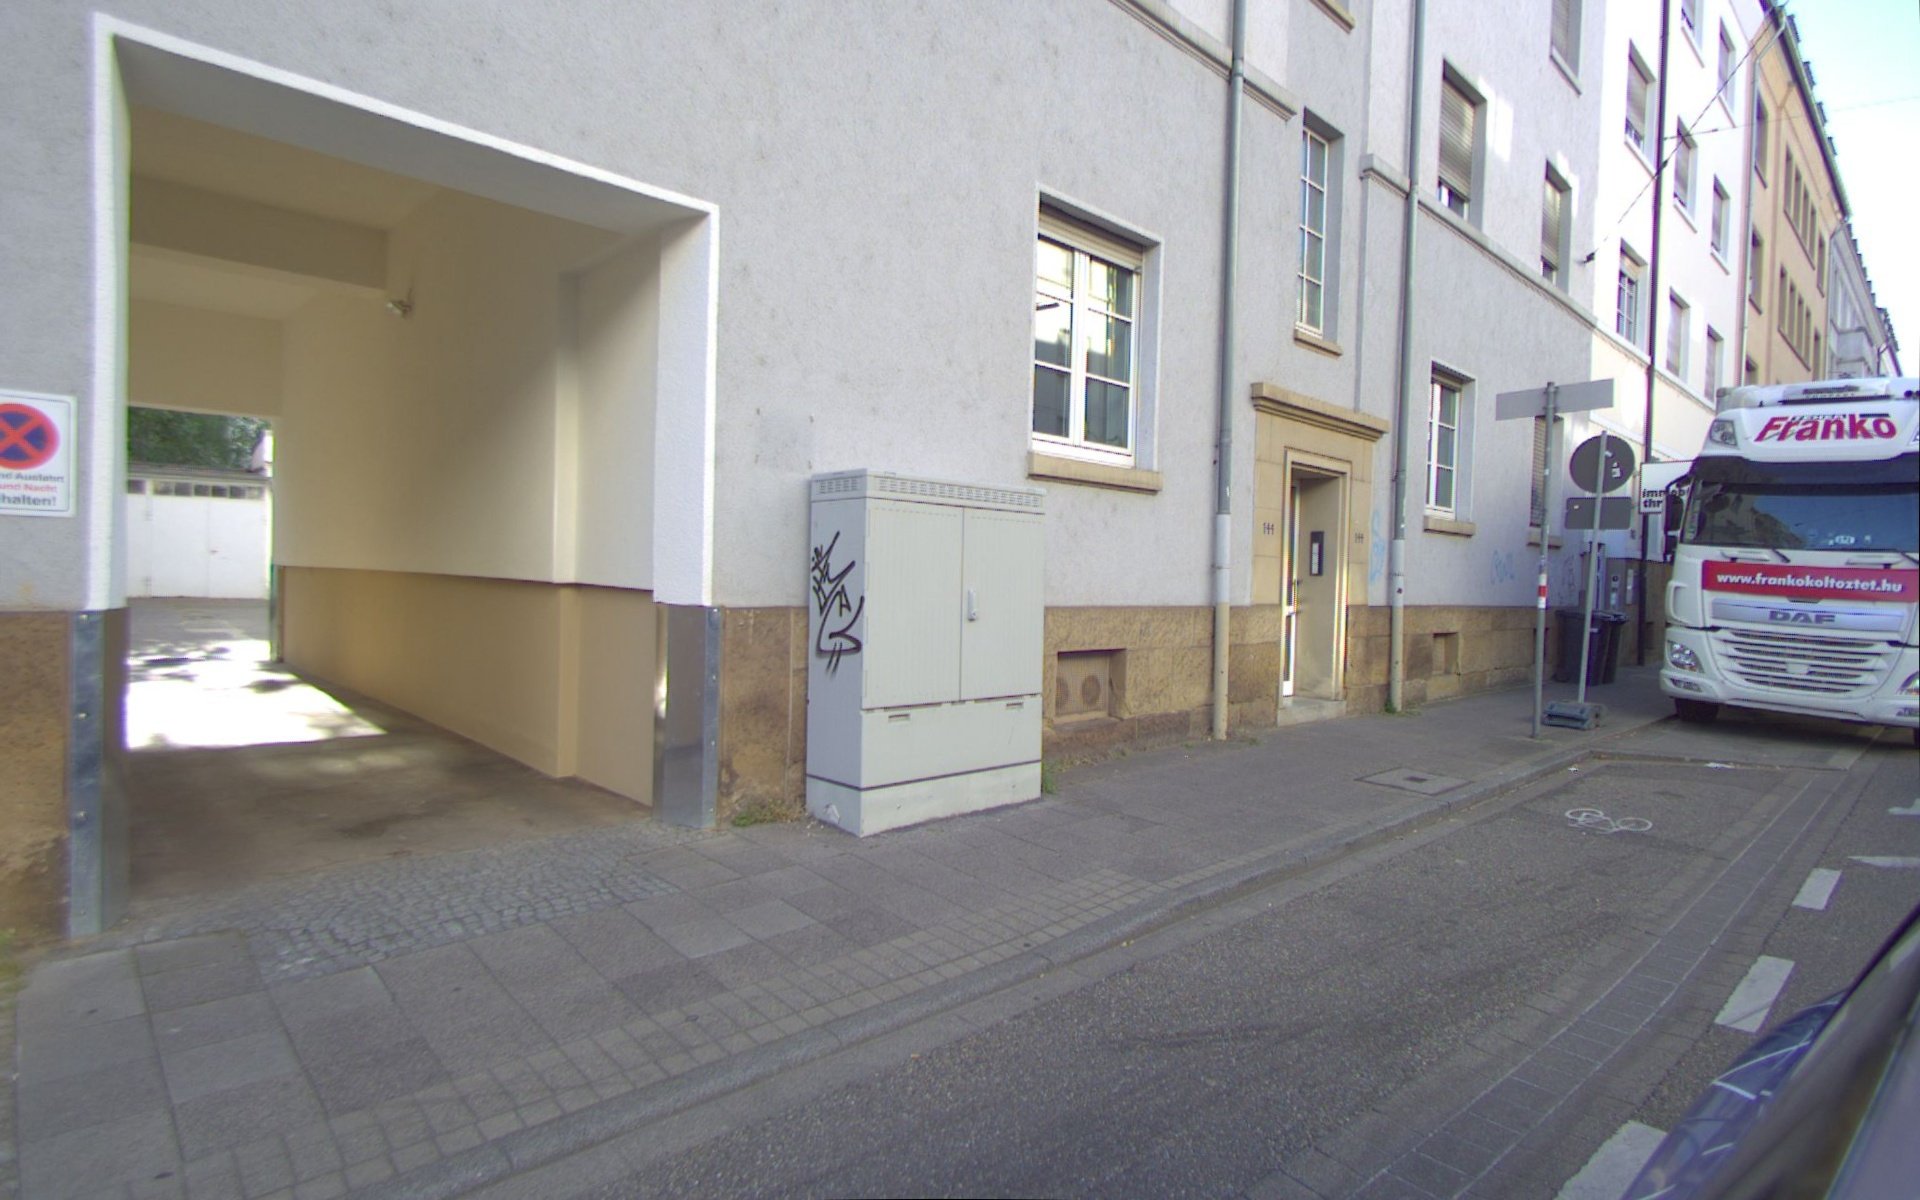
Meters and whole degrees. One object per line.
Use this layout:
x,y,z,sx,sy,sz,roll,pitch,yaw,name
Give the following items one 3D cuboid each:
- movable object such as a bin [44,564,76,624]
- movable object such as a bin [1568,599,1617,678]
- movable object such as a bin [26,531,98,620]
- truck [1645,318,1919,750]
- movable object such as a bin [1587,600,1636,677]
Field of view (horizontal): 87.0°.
-14.340,-0.104,16.125,0.366,0.919,0.420,0,3,-44,movable object such as a bin
9.109,0.544,14.573,0.511,1.106,0.488,0,0,45,movable object such as a bin
-14.808,-0.408,16.690,0.874,1.409,0.758,0,4,-44,movable object such as a bin
12.568,-0.605,13.882,11.511,4.012,2.894,0,0,-44,truck
9.602,0.549,14.920,0.511,1.106,0.488,0,0,45,movable object such as a bin
